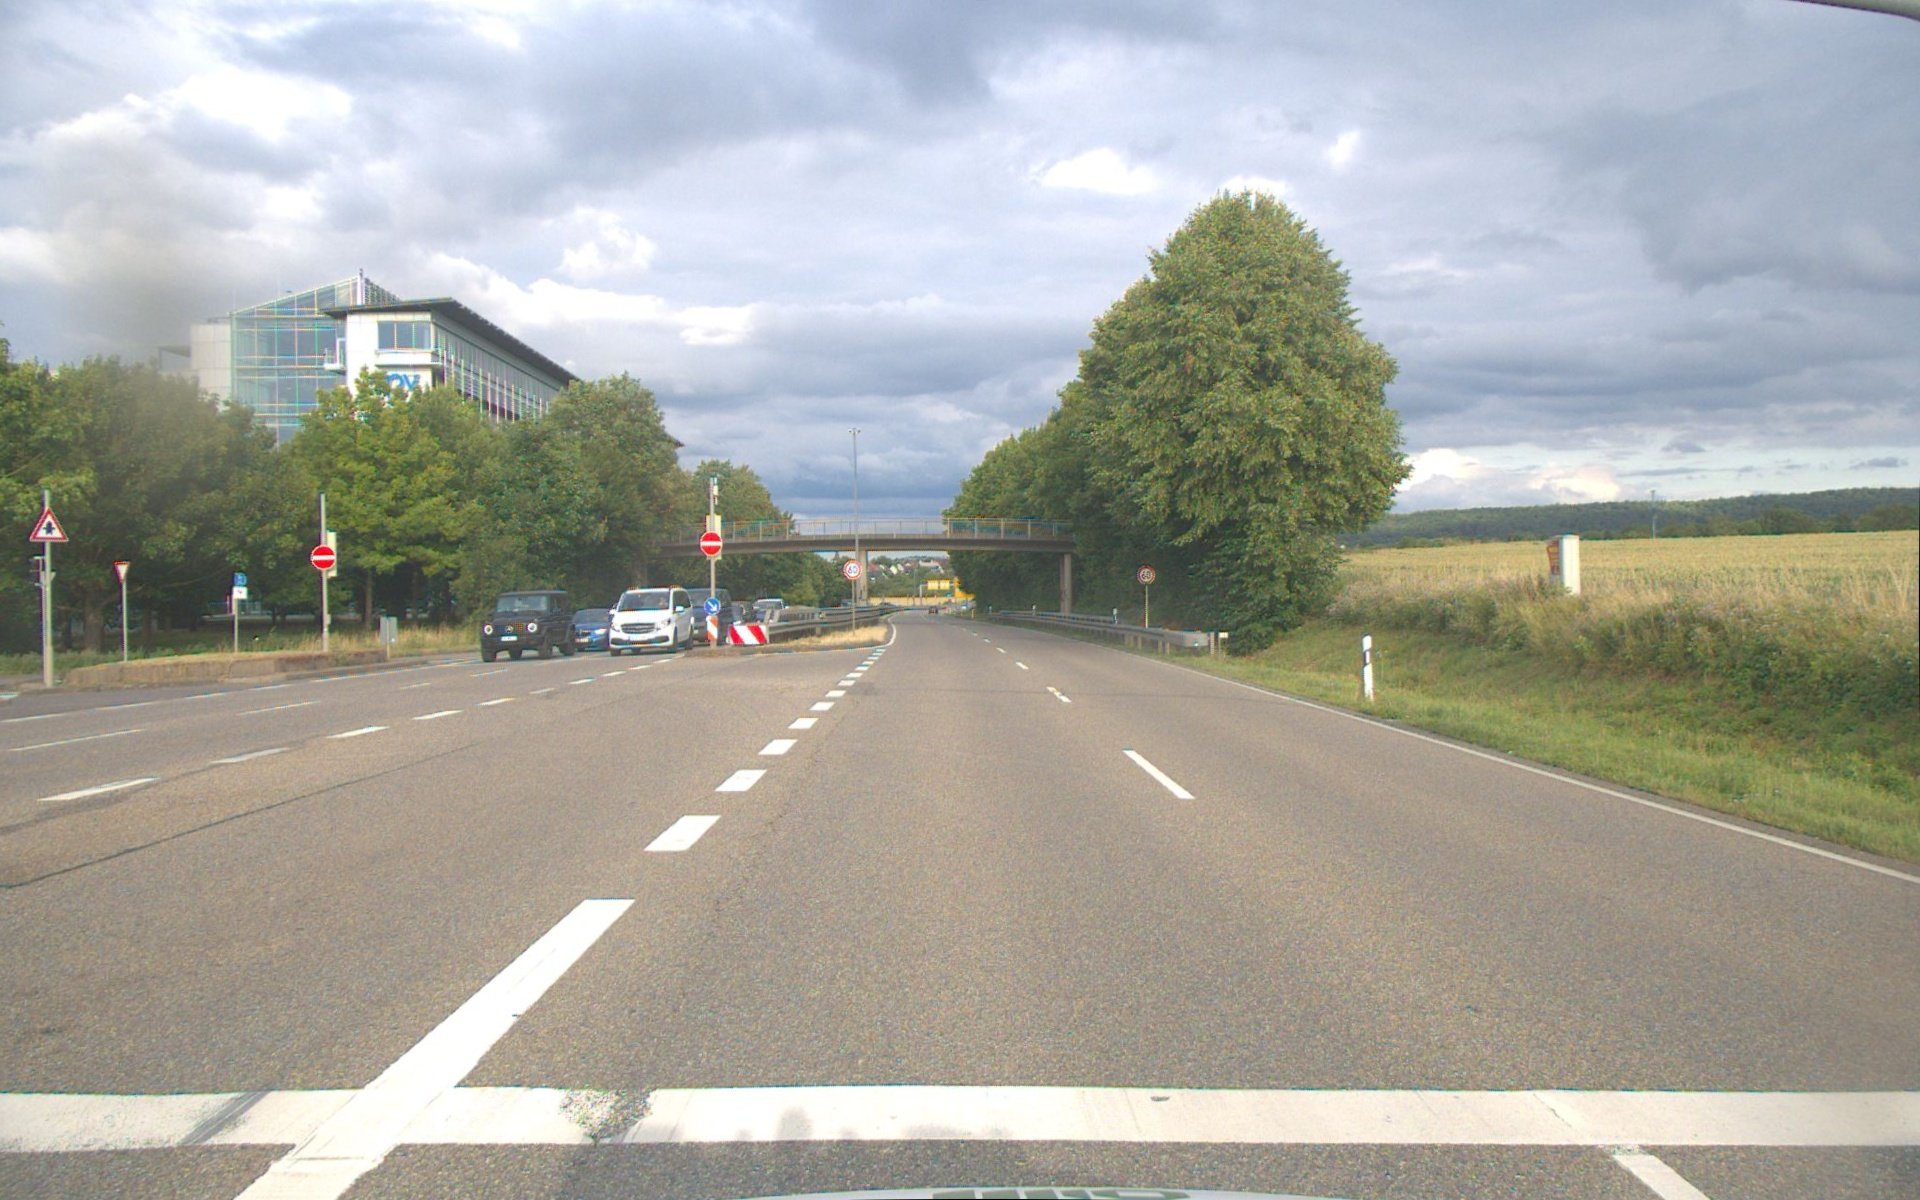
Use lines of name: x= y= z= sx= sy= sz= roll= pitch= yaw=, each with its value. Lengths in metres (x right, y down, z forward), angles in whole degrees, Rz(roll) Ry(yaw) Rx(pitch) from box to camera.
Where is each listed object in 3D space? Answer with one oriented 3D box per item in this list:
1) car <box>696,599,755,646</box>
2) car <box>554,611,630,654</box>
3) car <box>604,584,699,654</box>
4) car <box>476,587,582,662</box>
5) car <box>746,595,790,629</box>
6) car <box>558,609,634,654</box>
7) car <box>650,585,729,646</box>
car: x=-9.094 y=0.850 z=64.443 sx=1.678 sy=1.616 sz=4.553 roll=-3 pitch=1 yaw=-2
car: x=-12.416 y=1.070 z=55.965 sx=1.687 sy=1.261 sz=3.999 roll=-4 pitch=0 yaw=-2
car: x=-9.140 y=0.542 z=49.413 sx=1.895 sy=1.905 sz=5.345 roll=-2 pitch=0 yaw=-2
car: x=-12.719 y=0.699 z=49.126 sx=1.895 sy=2.025 sz=5.089 roll=-2 pitch=0 yaw=-2
car: x=-9.879 y=0.610 z=85.359 sx=1.786 sy=1.612 sz=4.789 roll=-3 pitch=0 yaw=-2
car: x=-12.280 y=1.054 z=56.050 sx=1.614 sy=1.412 sz=4.185 roll=-2 pitch=0 yaw=0
car: x=-9.258 y=0.520 z=56.969 sx=1.860 sy=1.950 sz=5.050 roll=-2 pitch=0 yaw=0
